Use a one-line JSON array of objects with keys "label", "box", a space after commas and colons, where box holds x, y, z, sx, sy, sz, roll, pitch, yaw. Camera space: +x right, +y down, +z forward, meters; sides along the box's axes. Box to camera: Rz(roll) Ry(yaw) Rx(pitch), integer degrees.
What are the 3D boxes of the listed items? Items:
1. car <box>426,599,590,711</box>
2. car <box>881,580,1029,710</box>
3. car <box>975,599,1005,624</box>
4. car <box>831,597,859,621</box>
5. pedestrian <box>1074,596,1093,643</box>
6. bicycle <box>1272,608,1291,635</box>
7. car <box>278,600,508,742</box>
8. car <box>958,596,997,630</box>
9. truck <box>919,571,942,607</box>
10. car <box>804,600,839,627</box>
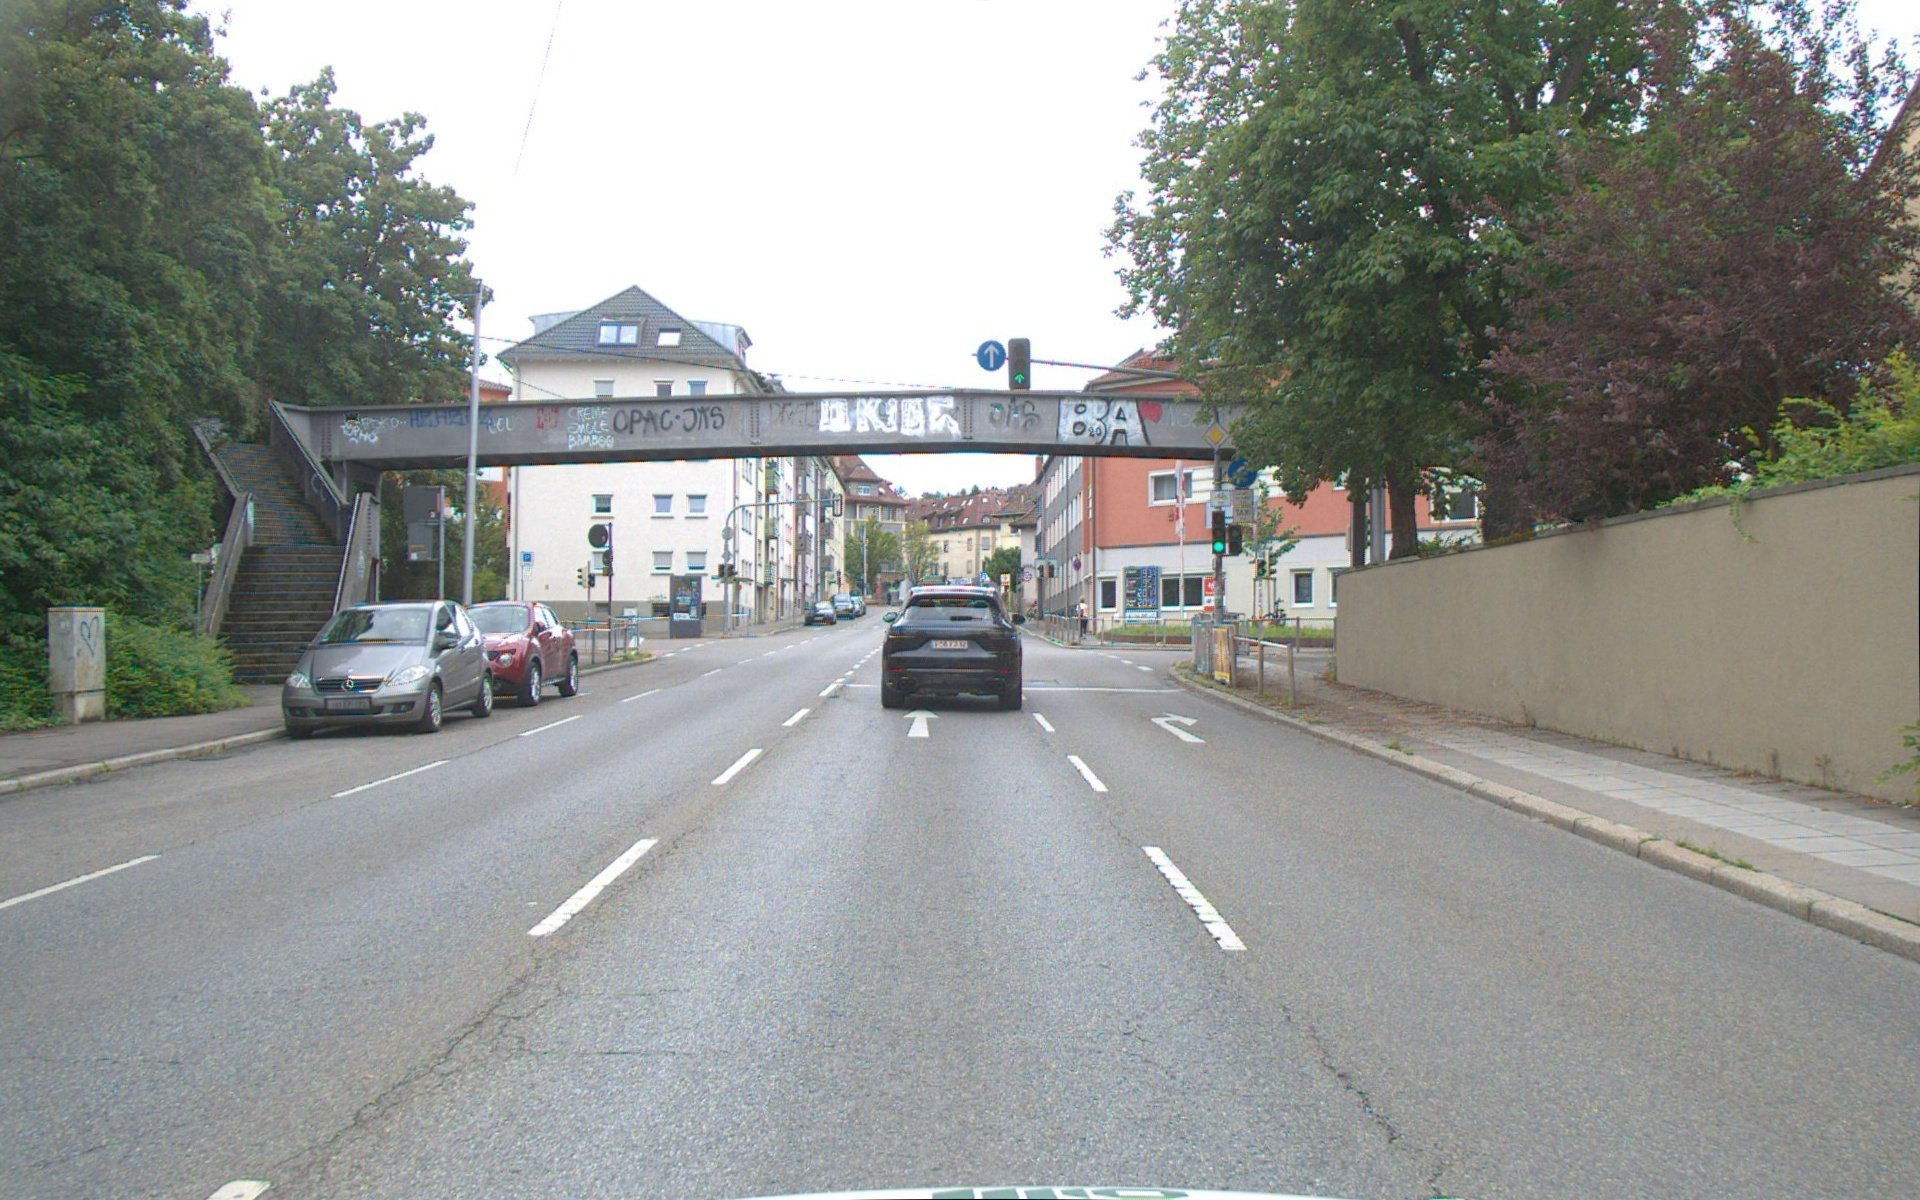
[{"label": "car", "box": [-6.995, 0.799, 25.960, 1.502, 1.567, 3.981, -2, 0, -1]}, {"label": "car", "box": [-0.081, 0.578, 23.964, 1.953, 1.691, 4.000, 0, 1, -1]}, {"label": "car", "box": [1.787, 0.660, 98.843, 1.706, 1.424, 4.000, 0, 1, -1]}, {"label": "car", "box": [-8.003, 0.614, 115.355, 1.729, 1.679, 4.000, 0, 0, 0]}, {"label": "pedestrian", "box": [4.827, 0.753, 64.563, 0.639, 1.823, 0.714, 0, 0, -3]}, {"label": "bicycle", "box": [11.460, 0.762, 58.900, 0.333, 0.919, 1.743, 0, 0, 22]}, {"label": "car", "box": [-7.117, 0.822, 21.172, 1.711, 1.596, 3.906, -2, 0, -3]}, {"label": "car", "box": [0.777, 0.556, 74.973, 1.706, 1.424, 4.000, 0, 1, -1]}, {"label": "truck", "box": [-2.980, -1.104, 165.148, 2.220, 3.484, 9.876, 0, 0, -1]}, {"label": "car", "box": [-8.256, 0.790, 98.738, 1.729, 1.534, 4.000, 0, 0, 0]}]
